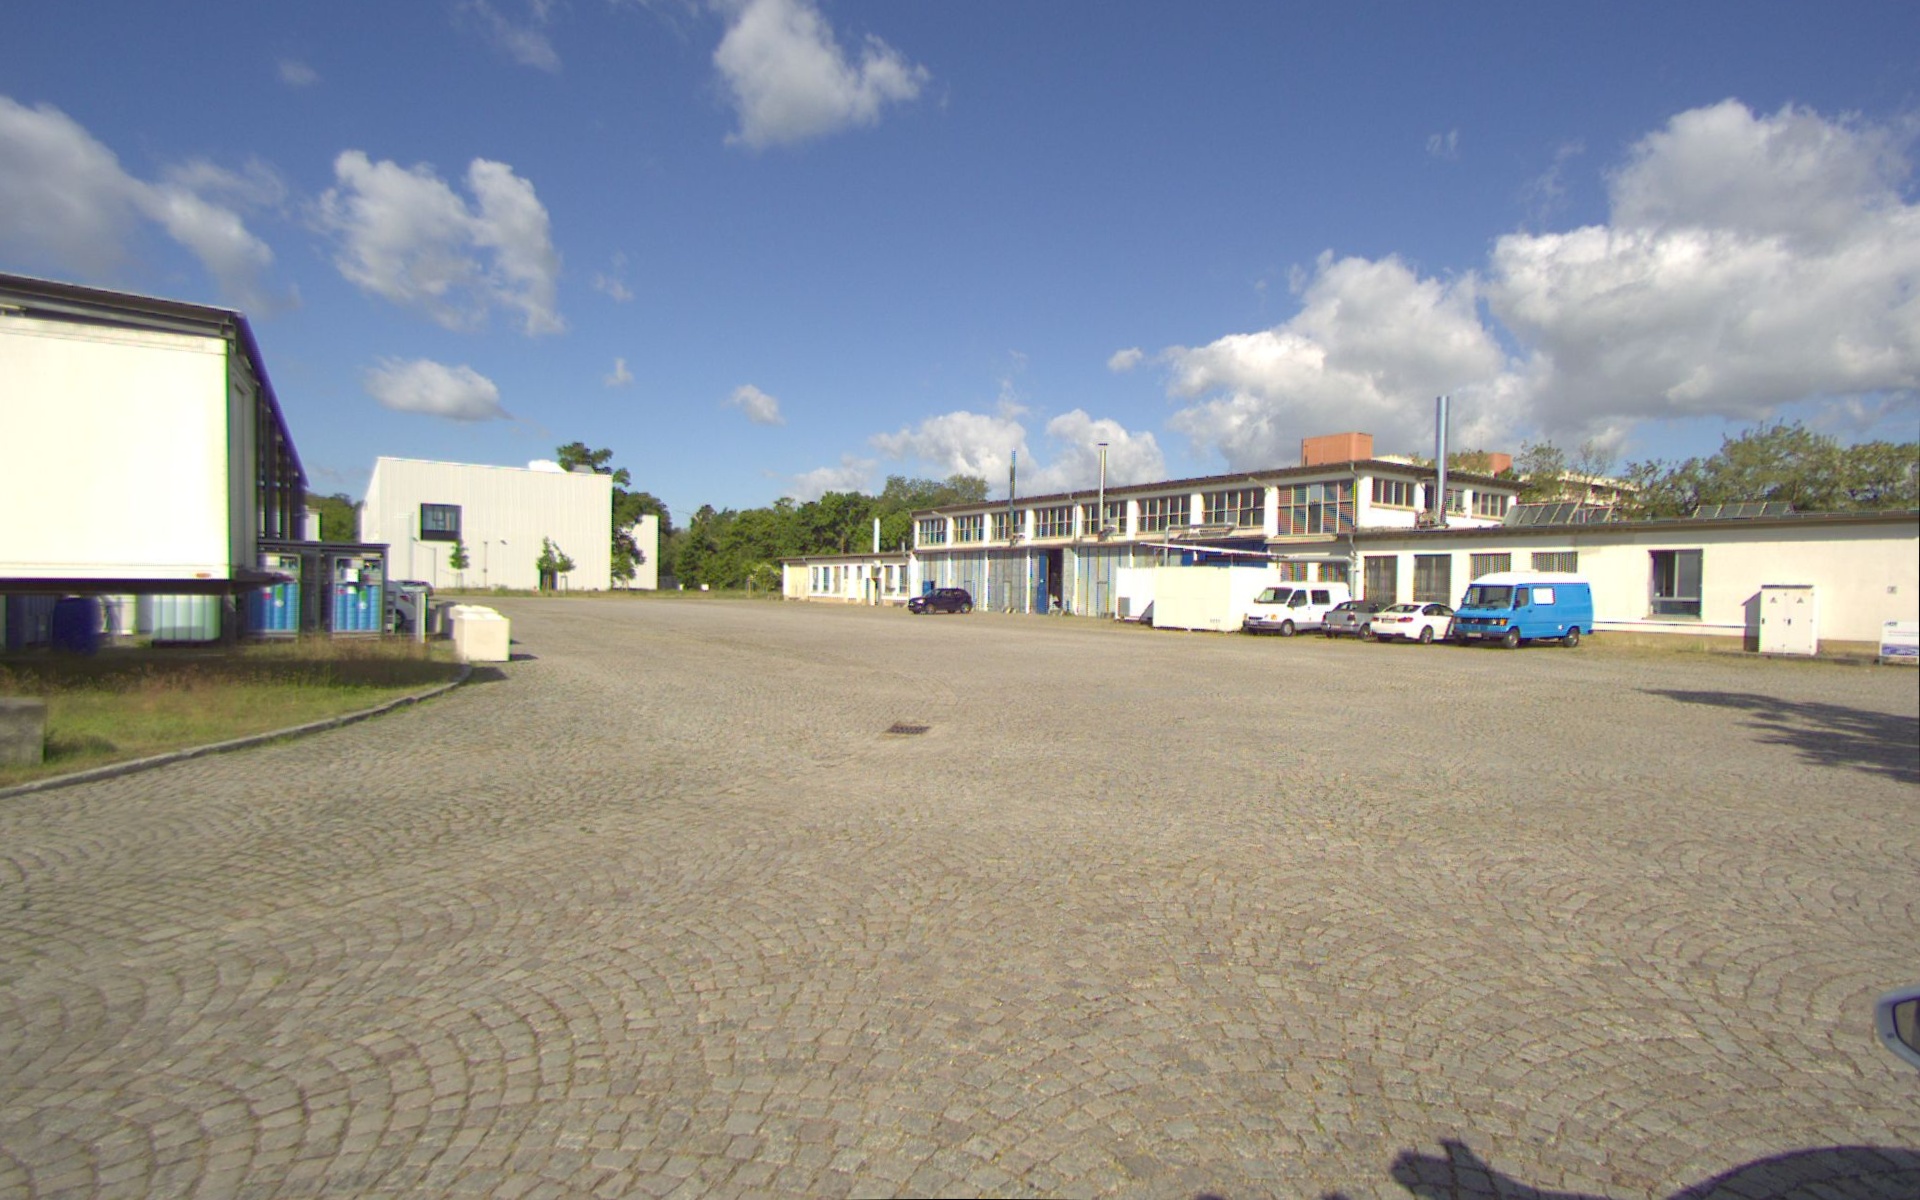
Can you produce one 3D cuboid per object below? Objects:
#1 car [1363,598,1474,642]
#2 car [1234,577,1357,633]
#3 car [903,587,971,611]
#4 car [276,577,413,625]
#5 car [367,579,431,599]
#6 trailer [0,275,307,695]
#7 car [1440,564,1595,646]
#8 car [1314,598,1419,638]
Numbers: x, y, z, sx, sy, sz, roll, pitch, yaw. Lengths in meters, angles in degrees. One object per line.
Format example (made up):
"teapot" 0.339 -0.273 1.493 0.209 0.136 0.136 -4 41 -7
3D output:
"car" 16.019 0.673 35.060 3.694 1.424 1.724 -1 1 -30
"car" 13.448 0.203 40.157 4.747 2.109 1.994 1 1 -30
"car" -1.430 -0.074 63.122 4.034 1.489 1.724 0 1 -34
"car" -18.577 0.036 30.345 3.439 1.394 1.595 1 1 -36
"car" -42.614 -0.798 76.381 4.144 1.422 1.724 1 1 -34
"trailer" -12.453 -1.147 9.095 10.759 3.963 2.758 1 1 -31
"car" 18.521 0.180 33.309 5.176 2.516 2.073 1 1 -30
"car" 15.369 0.665 37.950 3.786 1.417 1.679 1 1 -30
